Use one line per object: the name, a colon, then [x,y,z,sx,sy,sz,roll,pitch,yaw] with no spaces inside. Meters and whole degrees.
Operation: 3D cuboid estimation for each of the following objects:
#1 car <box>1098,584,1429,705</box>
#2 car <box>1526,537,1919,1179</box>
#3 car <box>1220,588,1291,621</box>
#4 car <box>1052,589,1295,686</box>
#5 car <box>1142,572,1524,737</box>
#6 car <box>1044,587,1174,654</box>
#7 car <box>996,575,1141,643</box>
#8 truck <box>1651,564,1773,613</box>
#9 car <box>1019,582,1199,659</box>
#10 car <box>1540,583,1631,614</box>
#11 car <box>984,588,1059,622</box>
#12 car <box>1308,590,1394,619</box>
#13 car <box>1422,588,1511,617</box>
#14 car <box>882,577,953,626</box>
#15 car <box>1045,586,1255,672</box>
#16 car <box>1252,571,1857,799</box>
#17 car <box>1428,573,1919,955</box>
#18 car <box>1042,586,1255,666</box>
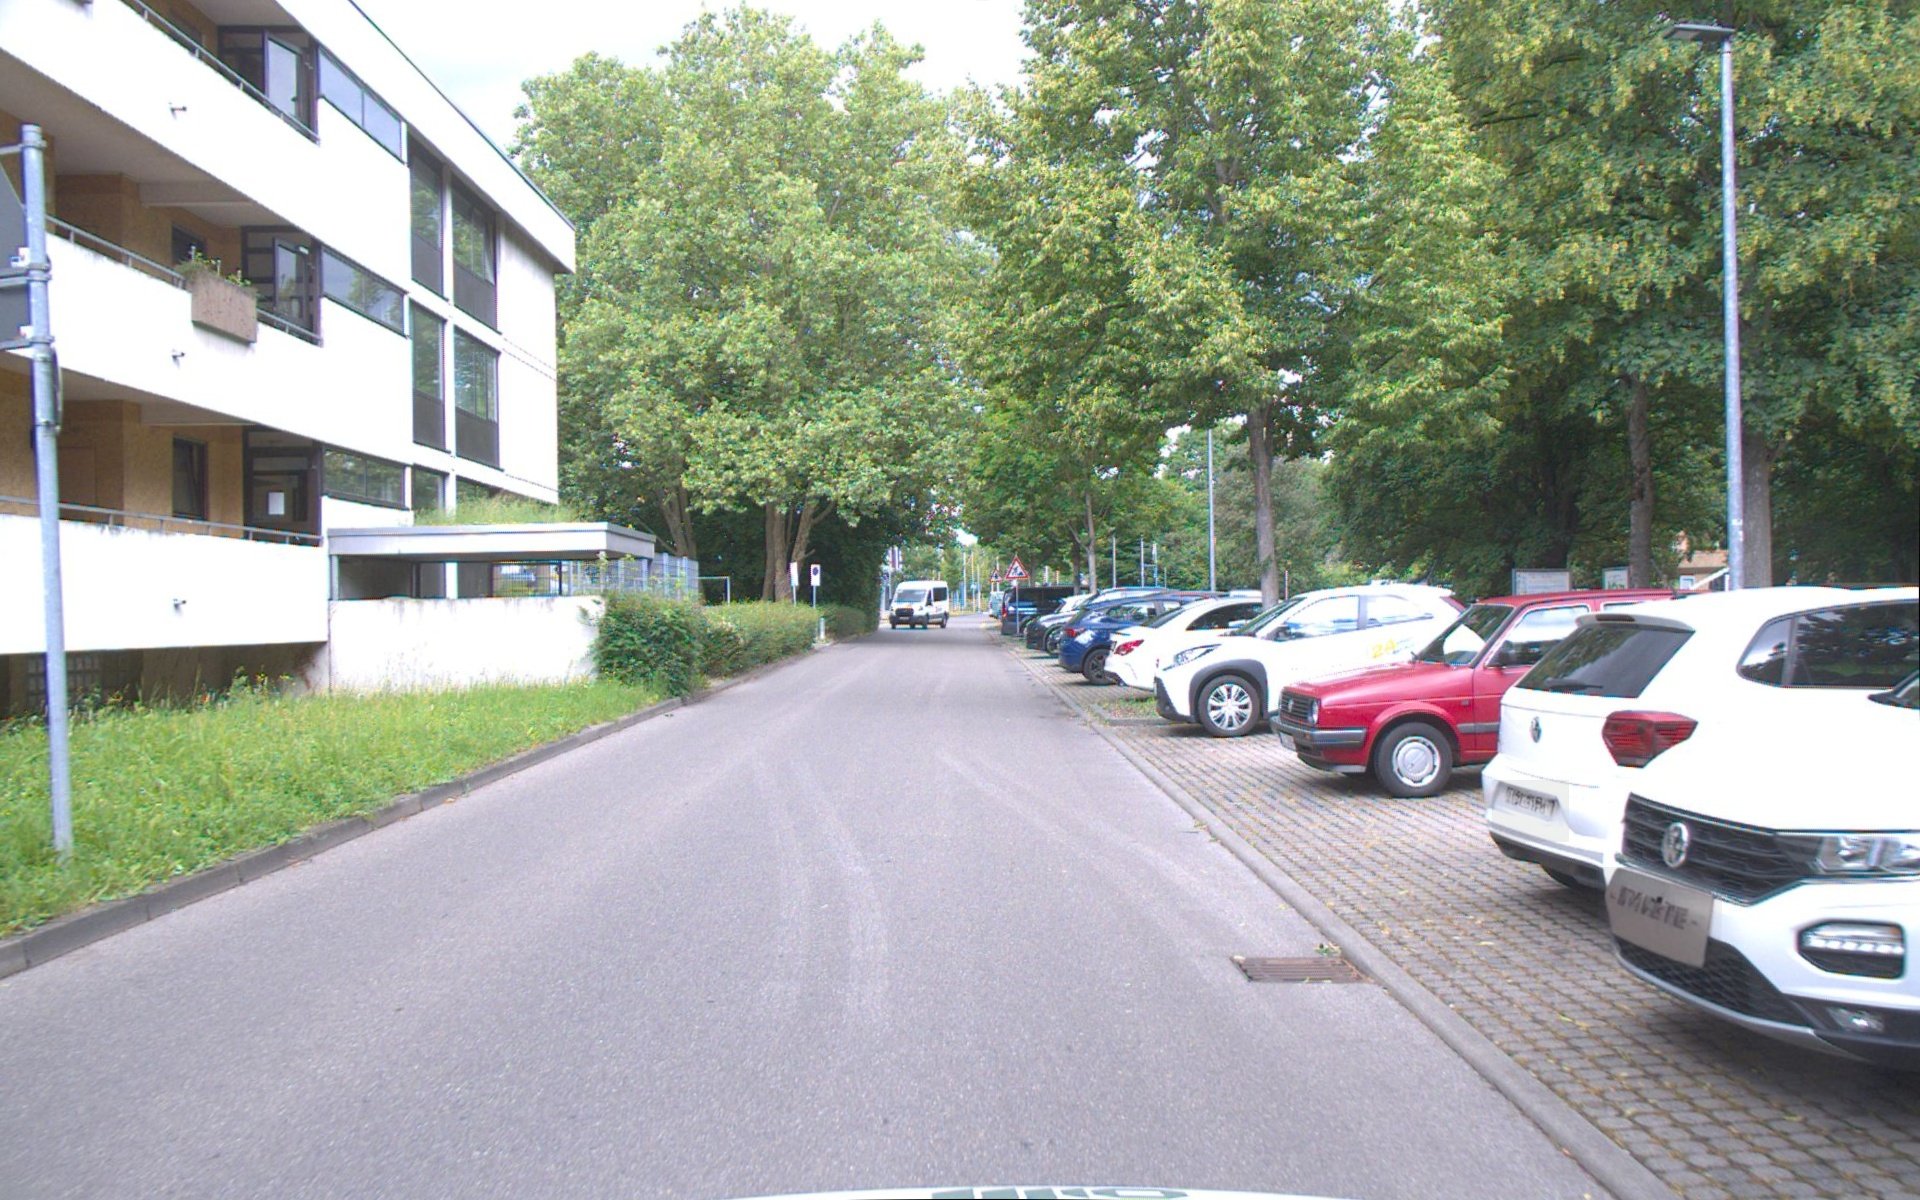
car: [4.301,0.619,23.917,4.394,1.480,1.846,-3,0,-1]
car: [4.125,0.557,5.142,4.031,1.575,1.860,-3,0,-3]
car: [16.055,0.247,90.023,3.699,1.697,1.769,-2,-1,7]
car: [3.686,0.644,29.110,3.989,1.482,1.851,-3,0,0]
car: [3.976,0.574,18.162,3.760,1.542,1.881,-3,0,2]
car: [3.993,0.539,44.829,3.310,1.602,1.796,-3,0,0]
car: [3.748,0.322,57.653,4.853,2.048,2.166,-3,0,1]
truck: [39.697,-0.590,87.388,5.389,2.469,2.194,-1,-1,6]
car: [3.758,0.496,42.221,4.325,1.705,2.082,-3,0,-1]
car: [33.286,-0.051,88.055,4.192,1.553,1.704,-1,-1,7]
car: [4.123,0.353,111.041,4.870,2.006,1.847,-3,0,1]
car: [21.117,0.254,89.457,4.299,1.453,1.704,-1,-1,5]
car: [27.172,0.153,88.858,4.334,1.453,1.704,-1,-1,7]
car: [-2.207,0.071,88.076,2.087,2.519,6.281,0,0,15]
car: [3.876,0.586,34.203,3.992,1.544,1.849,-3,0,-4]
car: [4.439,0.608,12.789,3.972,1.447,1.816,-3,0,-2]
car: [4.435,0.608,7.682,3.931,1.447,1.790,-3,0,-6]
car: [4.158,0.556,37.054,4.541,1.543,1.983,-3,0,1]
